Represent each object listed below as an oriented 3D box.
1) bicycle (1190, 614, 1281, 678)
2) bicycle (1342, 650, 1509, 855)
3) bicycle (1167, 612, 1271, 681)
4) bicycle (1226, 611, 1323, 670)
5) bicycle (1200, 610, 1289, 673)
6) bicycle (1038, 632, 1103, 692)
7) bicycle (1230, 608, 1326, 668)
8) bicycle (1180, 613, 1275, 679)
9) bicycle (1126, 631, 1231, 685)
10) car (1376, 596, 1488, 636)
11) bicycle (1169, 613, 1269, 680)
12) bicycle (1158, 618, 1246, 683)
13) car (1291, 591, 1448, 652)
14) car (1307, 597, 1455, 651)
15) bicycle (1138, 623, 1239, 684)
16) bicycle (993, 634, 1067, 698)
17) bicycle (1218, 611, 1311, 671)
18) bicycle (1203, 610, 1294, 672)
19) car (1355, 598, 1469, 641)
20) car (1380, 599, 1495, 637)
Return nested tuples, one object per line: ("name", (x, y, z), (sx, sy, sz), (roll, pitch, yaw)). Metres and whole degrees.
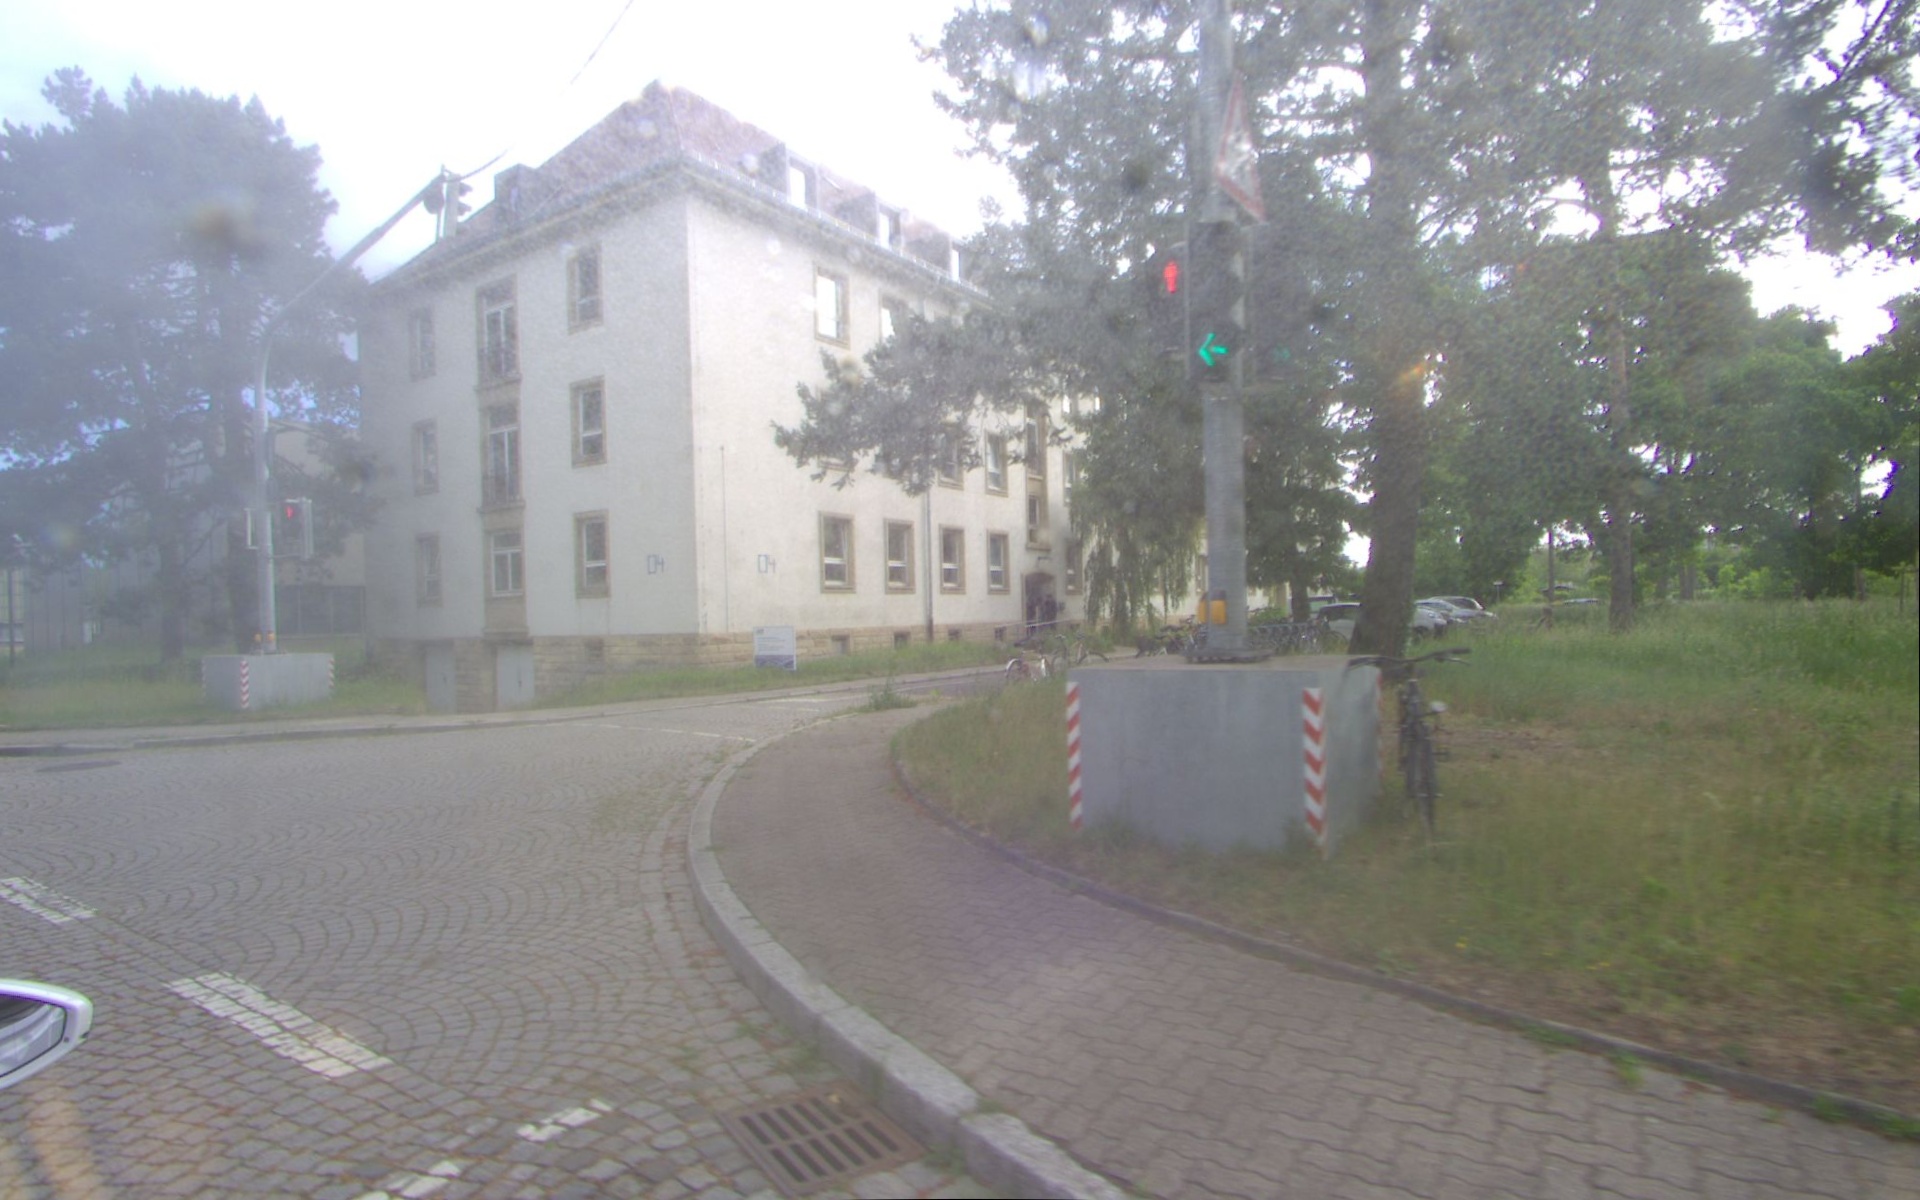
("bicycle", (5.953, 0.980, 21.701), (1.895, 1.337, 0.390), (-2, -1, 40))
("bicycle", (2.606, 0.749, 5.503), (0.565, 0.885, 1.695), (-1, -1, 34))
("bicycle", (5.214, 0.941, 20.262), (2.023, 1.337, 0.435), (-2, -1, 40))
("bicycle", (7.353, 0.945, 23.489), (2.107, 1.337, 0.552), (-2, -1, 40))
("bicycle", (6.270, 0.912, 22.125), (1.830, 1.337, 0.553), (-2, -1, 40))
("bicycle", (2.053, 1.127, 18.458), (0.535, 1.027, 1.533), (-1, -1, 33))
("bicycle", (7.648, 0.918, 24.146), (2.077, 1.385, 0.754), (-2, 0, 40))
("bicycle", (5.680, 0.973, 21.343), (1.897, 1.337, 0.503), (-2, -1, 40))
("bicycle", (4.108, 1.086, 18.920), (1.879, 0.961, 0.539), (-2, -1, 39))
("car", (22.836, 0.801, 48.532), (4.633, 1.796, 1.988), (-2, -1, 35))
("bicycle", (5.371, 0.959, 20.842), (1.952, 1.337, 0.574), (-2, -1, 40))
("bicycle", (4.805, 0.996, 19.931), (1.619, 1.231, 0.539), (-2, -1, 40))
("car", (13.807, 0.742, 34.121), (4.777, 1.935, 2.236), (-1, -1, 19))
("car", (12.861, 0.732, 30.654), (3.880, 1.550, 1.850), (-2, -1, 36))
("bicycle", (4.426, 1.030, 19.491), (1.879, 1.115, 0.539), (-2, -1, 40))
("bicycle", (1.199, 1.083, 16.922), (0.523, 0.993, 1.617), (-1, -1, 33))
("bicycle", (6.984, 0.935, 23.055), (1.991, 1.337, 0.538), (-2, -1, 40))
("bicycle", (6.524, 0.925, 22.688), (1.915, 1.337, 0.551), (-2, -1, 40))
("car", (18.422, 0.816, 40.881), (3.947, 1.639, 1.988), (-2, -1, 35))
("car", (21.659, 0.837, 45.476), (4.456, 1.639, 1.988), (-2, -1, 35))
